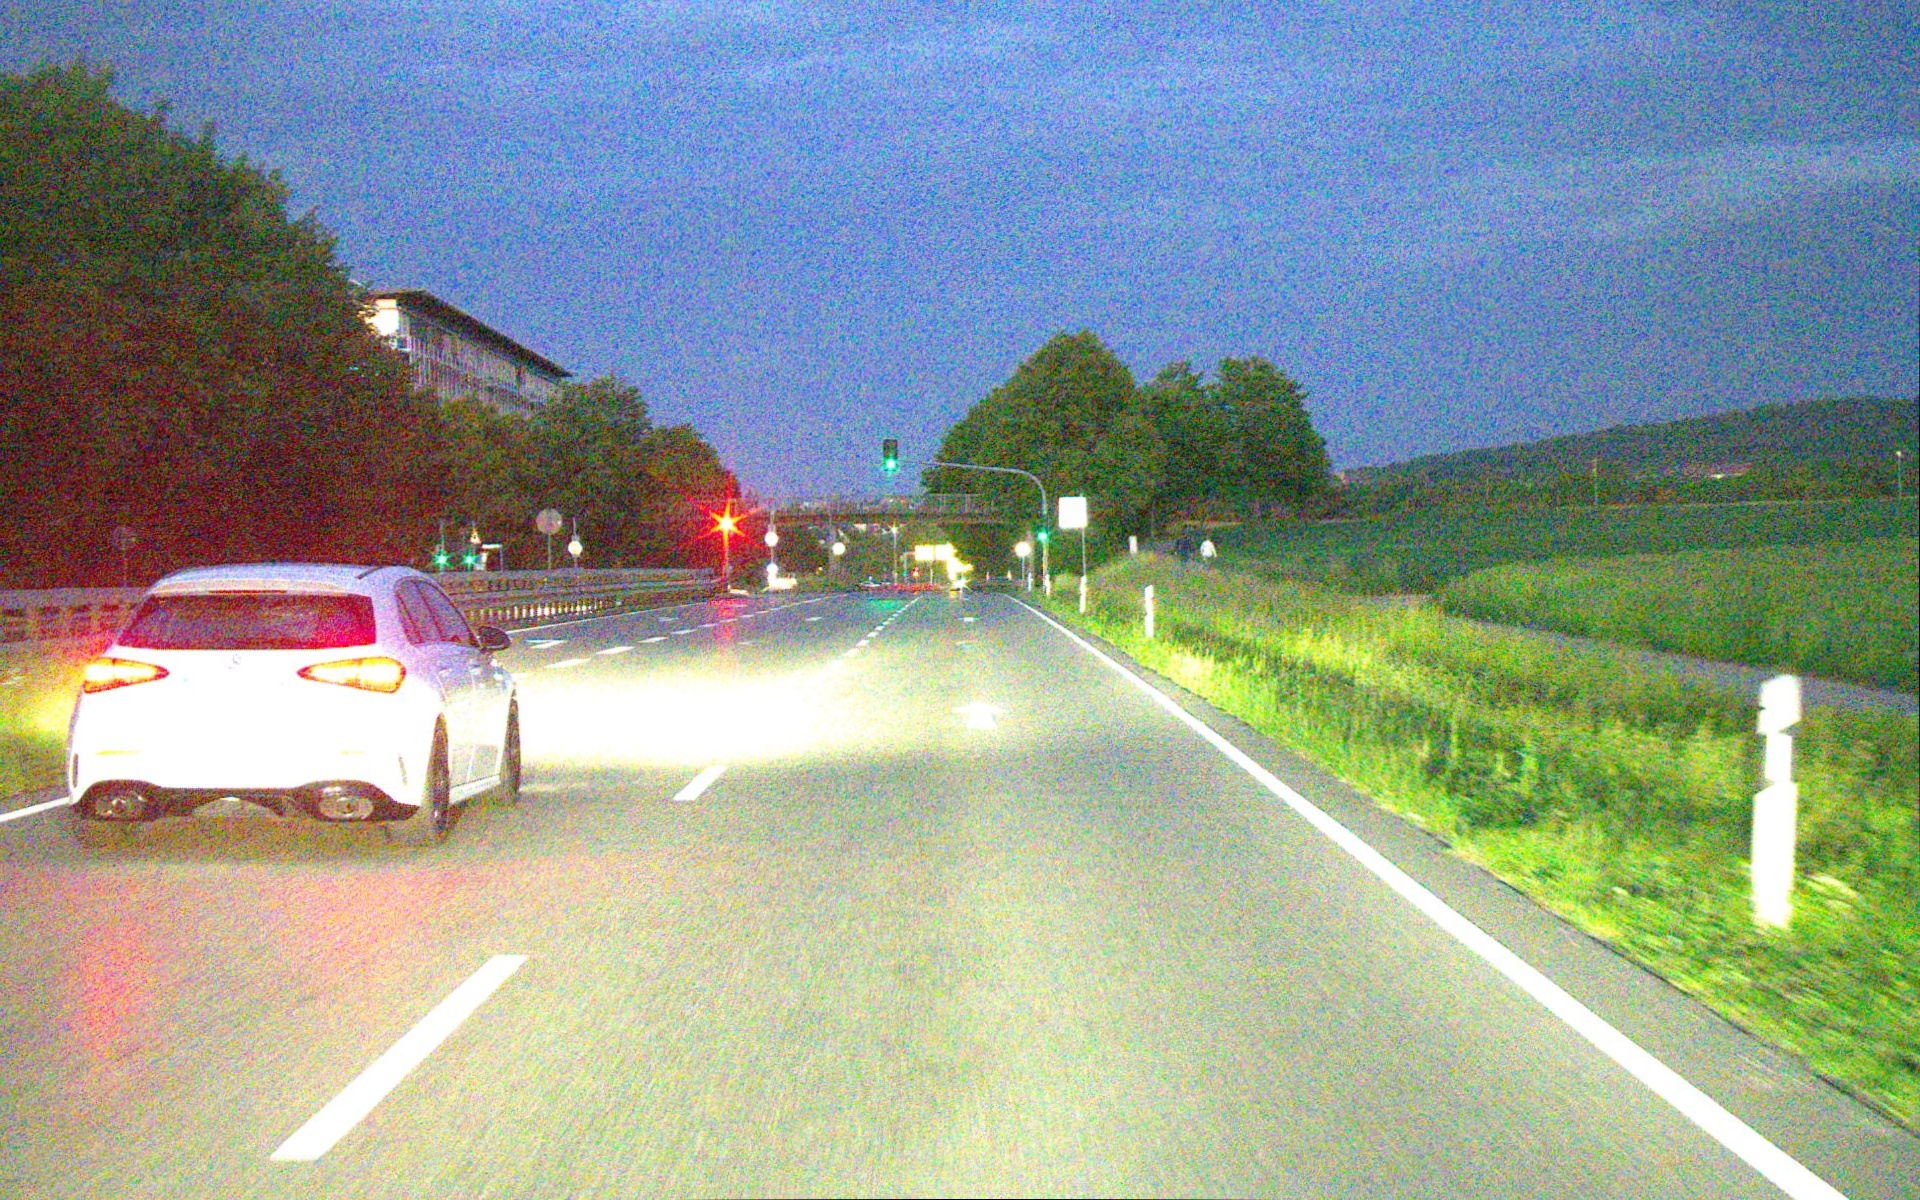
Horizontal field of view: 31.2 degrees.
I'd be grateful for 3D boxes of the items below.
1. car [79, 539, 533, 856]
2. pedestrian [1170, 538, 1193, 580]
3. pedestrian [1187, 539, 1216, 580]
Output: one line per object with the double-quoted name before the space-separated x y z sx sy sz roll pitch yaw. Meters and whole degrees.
"car" -3.361 0.419 18.463 1.642 1.485 4.580 0 1 -1
"pedestrian" 9.357 -1.736 145.259 0.922 1.787 1.106 0 1 0
"pedestrian" 10.211 -1.720 145.307 1.090 1.717 1.260 0 0 -1
